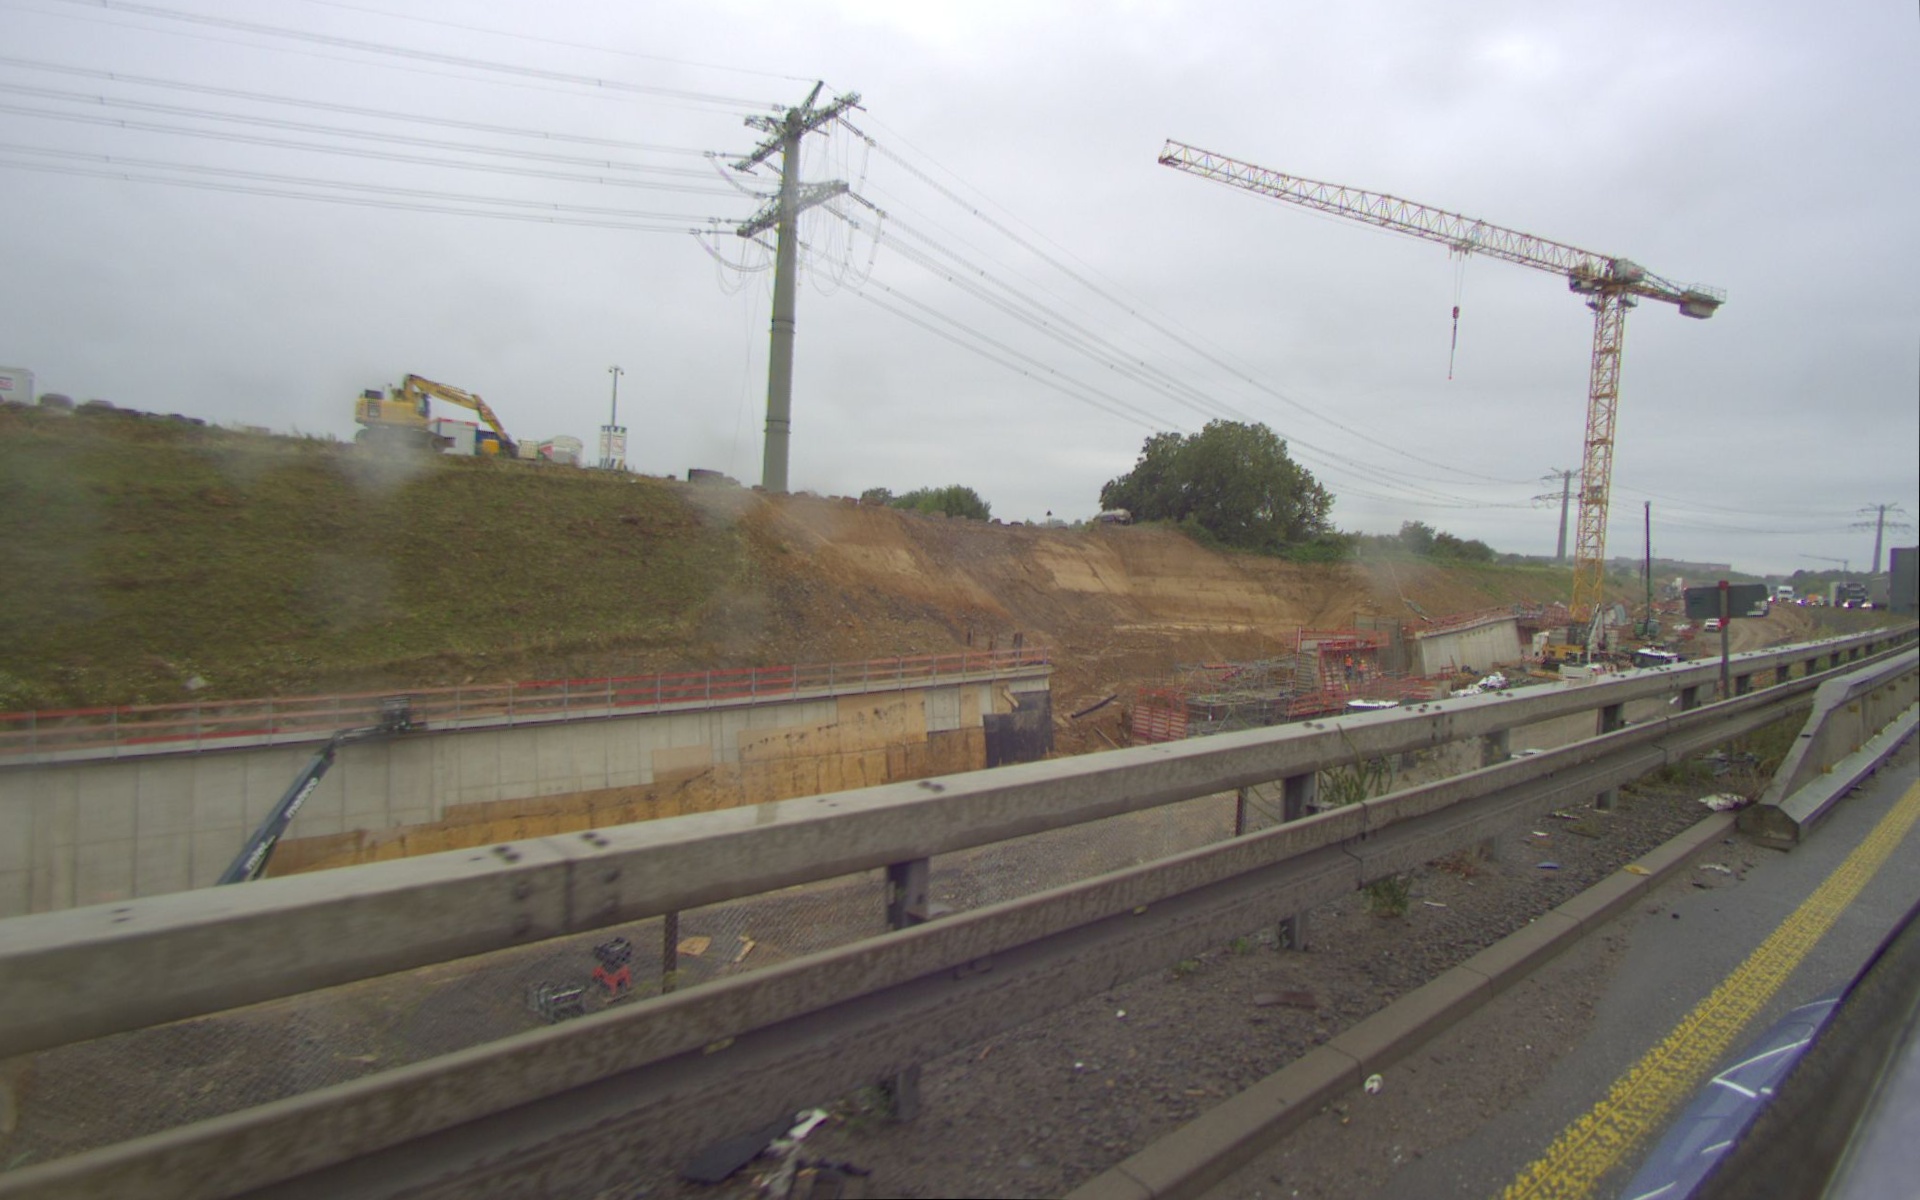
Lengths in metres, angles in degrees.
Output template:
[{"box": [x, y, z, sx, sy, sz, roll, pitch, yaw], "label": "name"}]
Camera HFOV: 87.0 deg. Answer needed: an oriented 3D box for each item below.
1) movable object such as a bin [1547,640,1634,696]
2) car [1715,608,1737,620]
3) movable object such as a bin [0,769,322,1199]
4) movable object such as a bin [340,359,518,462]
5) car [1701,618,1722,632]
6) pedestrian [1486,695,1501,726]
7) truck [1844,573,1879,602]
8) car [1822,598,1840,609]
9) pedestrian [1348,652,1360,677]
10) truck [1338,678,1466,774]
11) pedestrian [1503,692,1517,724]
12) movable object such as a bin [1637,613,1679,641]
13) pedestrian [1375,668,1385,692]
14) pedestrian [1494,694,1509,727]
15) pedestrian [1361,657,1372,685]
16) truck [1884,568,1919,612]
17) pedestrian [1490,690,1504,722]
[{"box": [47.392, 5.003, 76.060, 6.531, 3.466, 3.518, -2, 2, -37], "label": "movable object such as a bin"}, {"box": [120.041, 2.109, 158.564, 2.344, 1.638, 4.785, 3, 3, 42], "label": "car"}, {"box": [-18.362, 7.006, 17.355, 11.879, 5.740, 4.903, -4, 1, -39], "label": "movable object such as a bin"}, {"box": [-28.391, -10.004, 54.351, 8.030, 4.258, 3.107, 0, 2, -39], "label": "movable object such as a bin"}, {"box": [101.697, 3.397, 136.981, 1.854, 1.638, 4.018, 3, 3, 42], "label": "car"}, {"box": [33.380, 6.886, 63.294, 0.602, 1.790, 0.474, 6, 5, 44], "label": "pedestrian"}, {"box": [126.738, -1.707, 142.364, 3.533, 3.942, 8.211, 0, 0, 41], "label": "truck"}, {"box": [126.243, 0.474, 146.610, 1.784, 1.445, 3.937, 0, 0, 43], "label": "car"}, {"box": [29.486, 4.803, 75.679, 0.570, 1.827, 0.490, -3, -2, -6], "label": "pedestrian"}, {"box": [23.253, 6.420, 52.936, 8.922, 3.655, 2.707, -2, 4, -43], "label": "truck"}, {"box": [34.907, 6.831, 64.192, 0.602, 1.928, 0.474, 4, 3, 44], "label": "pedestrian"}, {"box": [86.873, 3.331, 126.004, 3.496, 2.915, 3.938, 9, 7, 43], "label": "movable object such as a bin"}, {"box": [32.409, 6.157, 78.031, 0.488, 1.781, 0.474, 4, 3, 44], "label": "pedestrian"}, {"box": [34.037, 6.937, 63.642, 0.602, 1.928, 0.604, 3, 3, 44], "label": "pedestrian"}, {"box": [30.777, 5.384, 76.610, 0.487, 2.127, 0.474, -6, -3, 44], "label": "pedestrian"}, {"box": [101.152, -1.052, 106.929, 4.299, 4.399, 13.221, 0, 0, 38], "label": "truck"}, {"box": [34.561, 6.823, 65.176, 0.602, 1.928, 0.474, 5, 4, 44], "label": "pedestrian"}]
